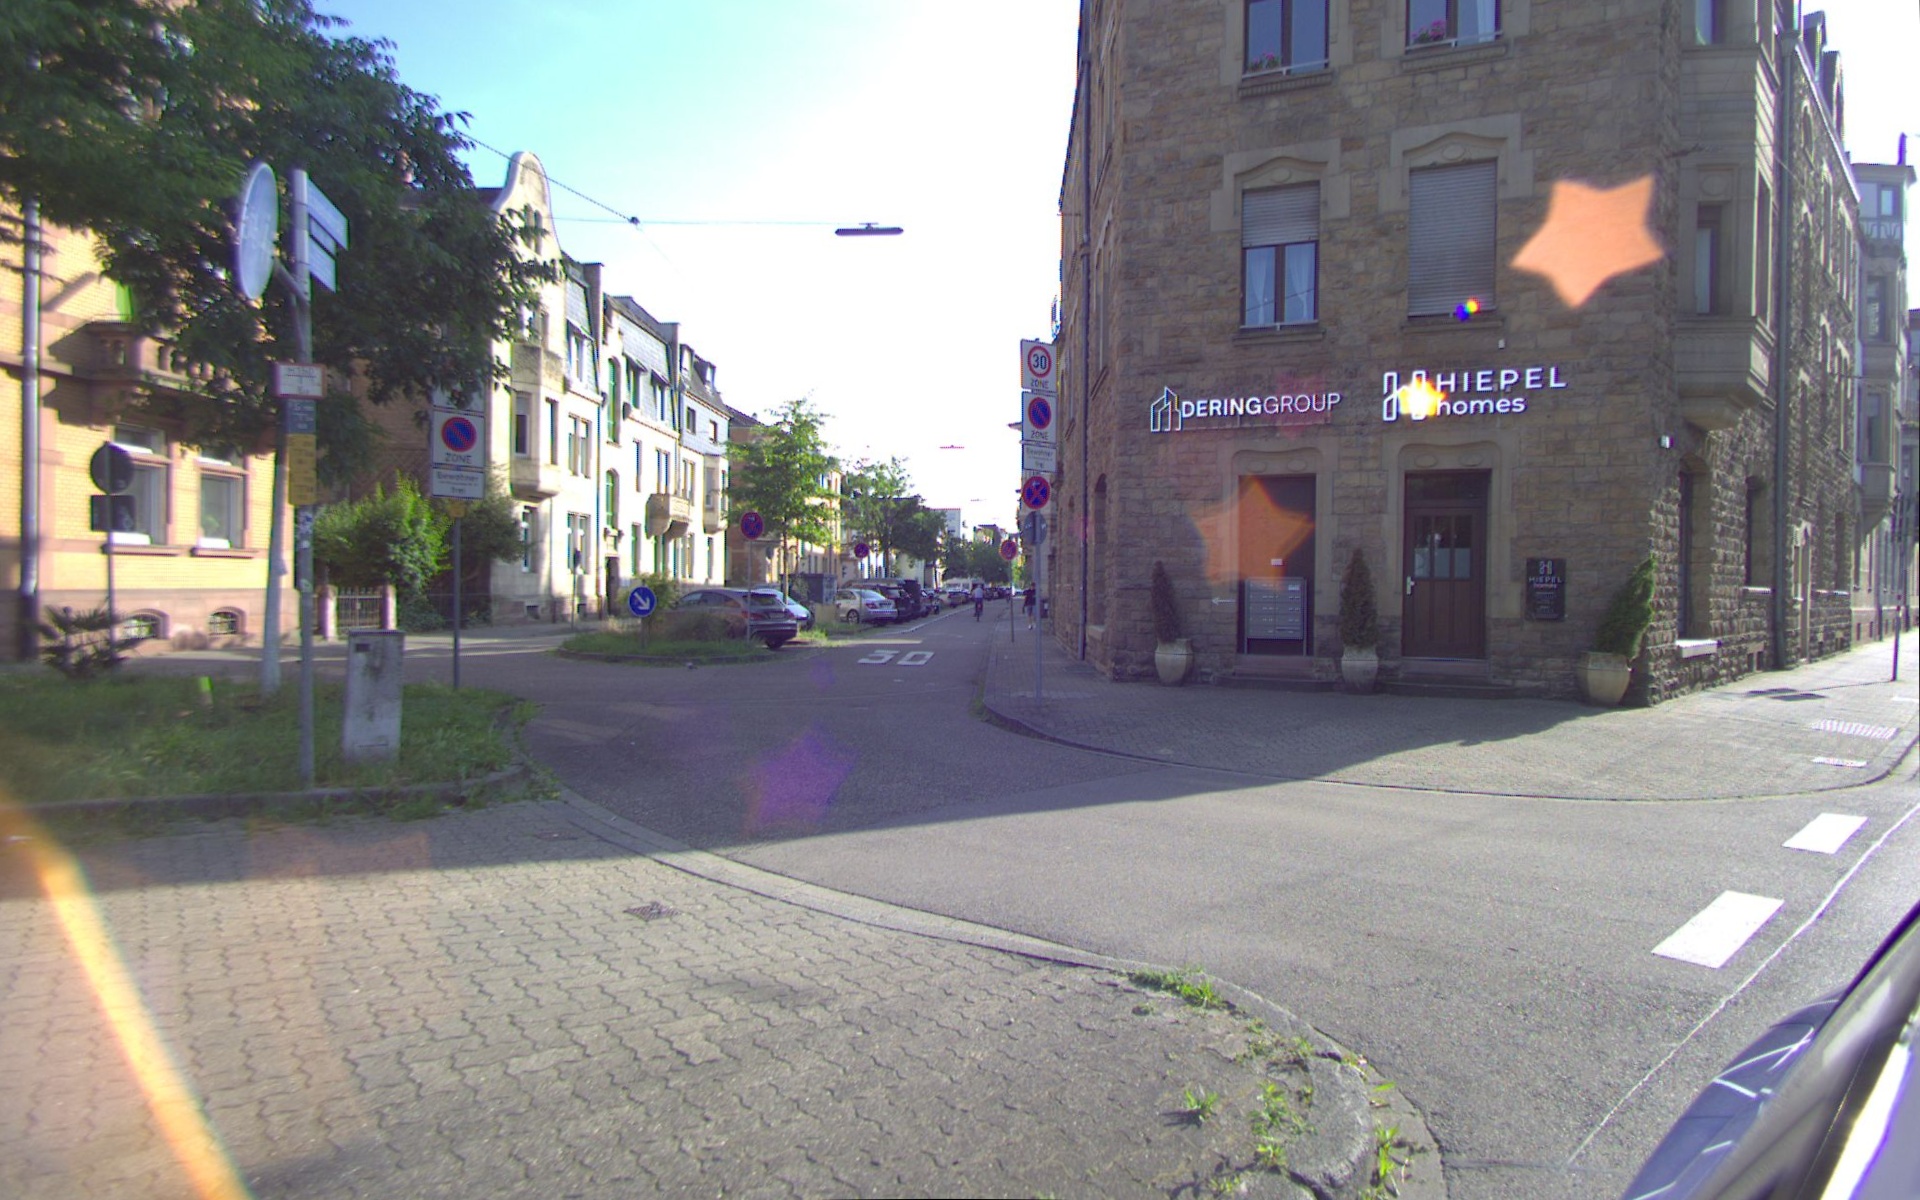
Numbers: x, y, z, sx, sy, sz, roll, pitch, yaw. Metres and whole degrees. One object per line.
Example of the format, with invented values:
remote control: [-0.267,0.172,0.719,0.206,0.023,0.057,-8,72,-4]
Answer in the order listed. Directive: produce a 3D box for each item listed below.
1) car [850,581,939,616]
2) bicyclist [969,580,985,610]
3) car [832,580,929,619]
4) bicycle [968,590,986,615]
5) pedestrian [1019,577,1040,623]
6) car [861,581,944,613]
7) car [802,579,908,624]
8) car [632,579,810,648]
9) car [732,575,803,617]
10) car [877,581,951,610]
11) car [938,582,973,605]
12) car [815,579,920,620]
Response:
car: [-3.237,-0.094,50.132,3.955,1.672,1.984,0,0,23]
bicyclist: [0.826,-0.244,48.971,0.731,1.474,0.653,0,0,5]
car: [-3.594,-0.033,45.984,3.955,1.672,1.984,0,0,23]
bicycle: [0.837,0.105,48.736,0.682,1.171,2.476,0,0,5]
pedestrian: [2.598,-0.009,37.737,0.750,1.696,0.782,0,0,6]
car: [-3.042,-0.168,53.692,3.955,1.672,1.984,0,0,23]
car: [-4.167,0.060,39.878,3.981,1.672,1.971,0,0,40]
car: [-5.920,0.290,24.868,4.430,1.533,1.972,0,0,39]
car: [-8.001,-0.172,42.521,1.964,1.672,3.995,0,0,4]
car: [-2.724,-0.248,59.824,3.955,1.672,1.984,0,0,23]
car: [-0.316,-0.494,78.019,1.968,1.672,3.987,0,0,11]
car: [-3.905,-0.033,42.802,3.955,1.672,1.984,0,0,23]
